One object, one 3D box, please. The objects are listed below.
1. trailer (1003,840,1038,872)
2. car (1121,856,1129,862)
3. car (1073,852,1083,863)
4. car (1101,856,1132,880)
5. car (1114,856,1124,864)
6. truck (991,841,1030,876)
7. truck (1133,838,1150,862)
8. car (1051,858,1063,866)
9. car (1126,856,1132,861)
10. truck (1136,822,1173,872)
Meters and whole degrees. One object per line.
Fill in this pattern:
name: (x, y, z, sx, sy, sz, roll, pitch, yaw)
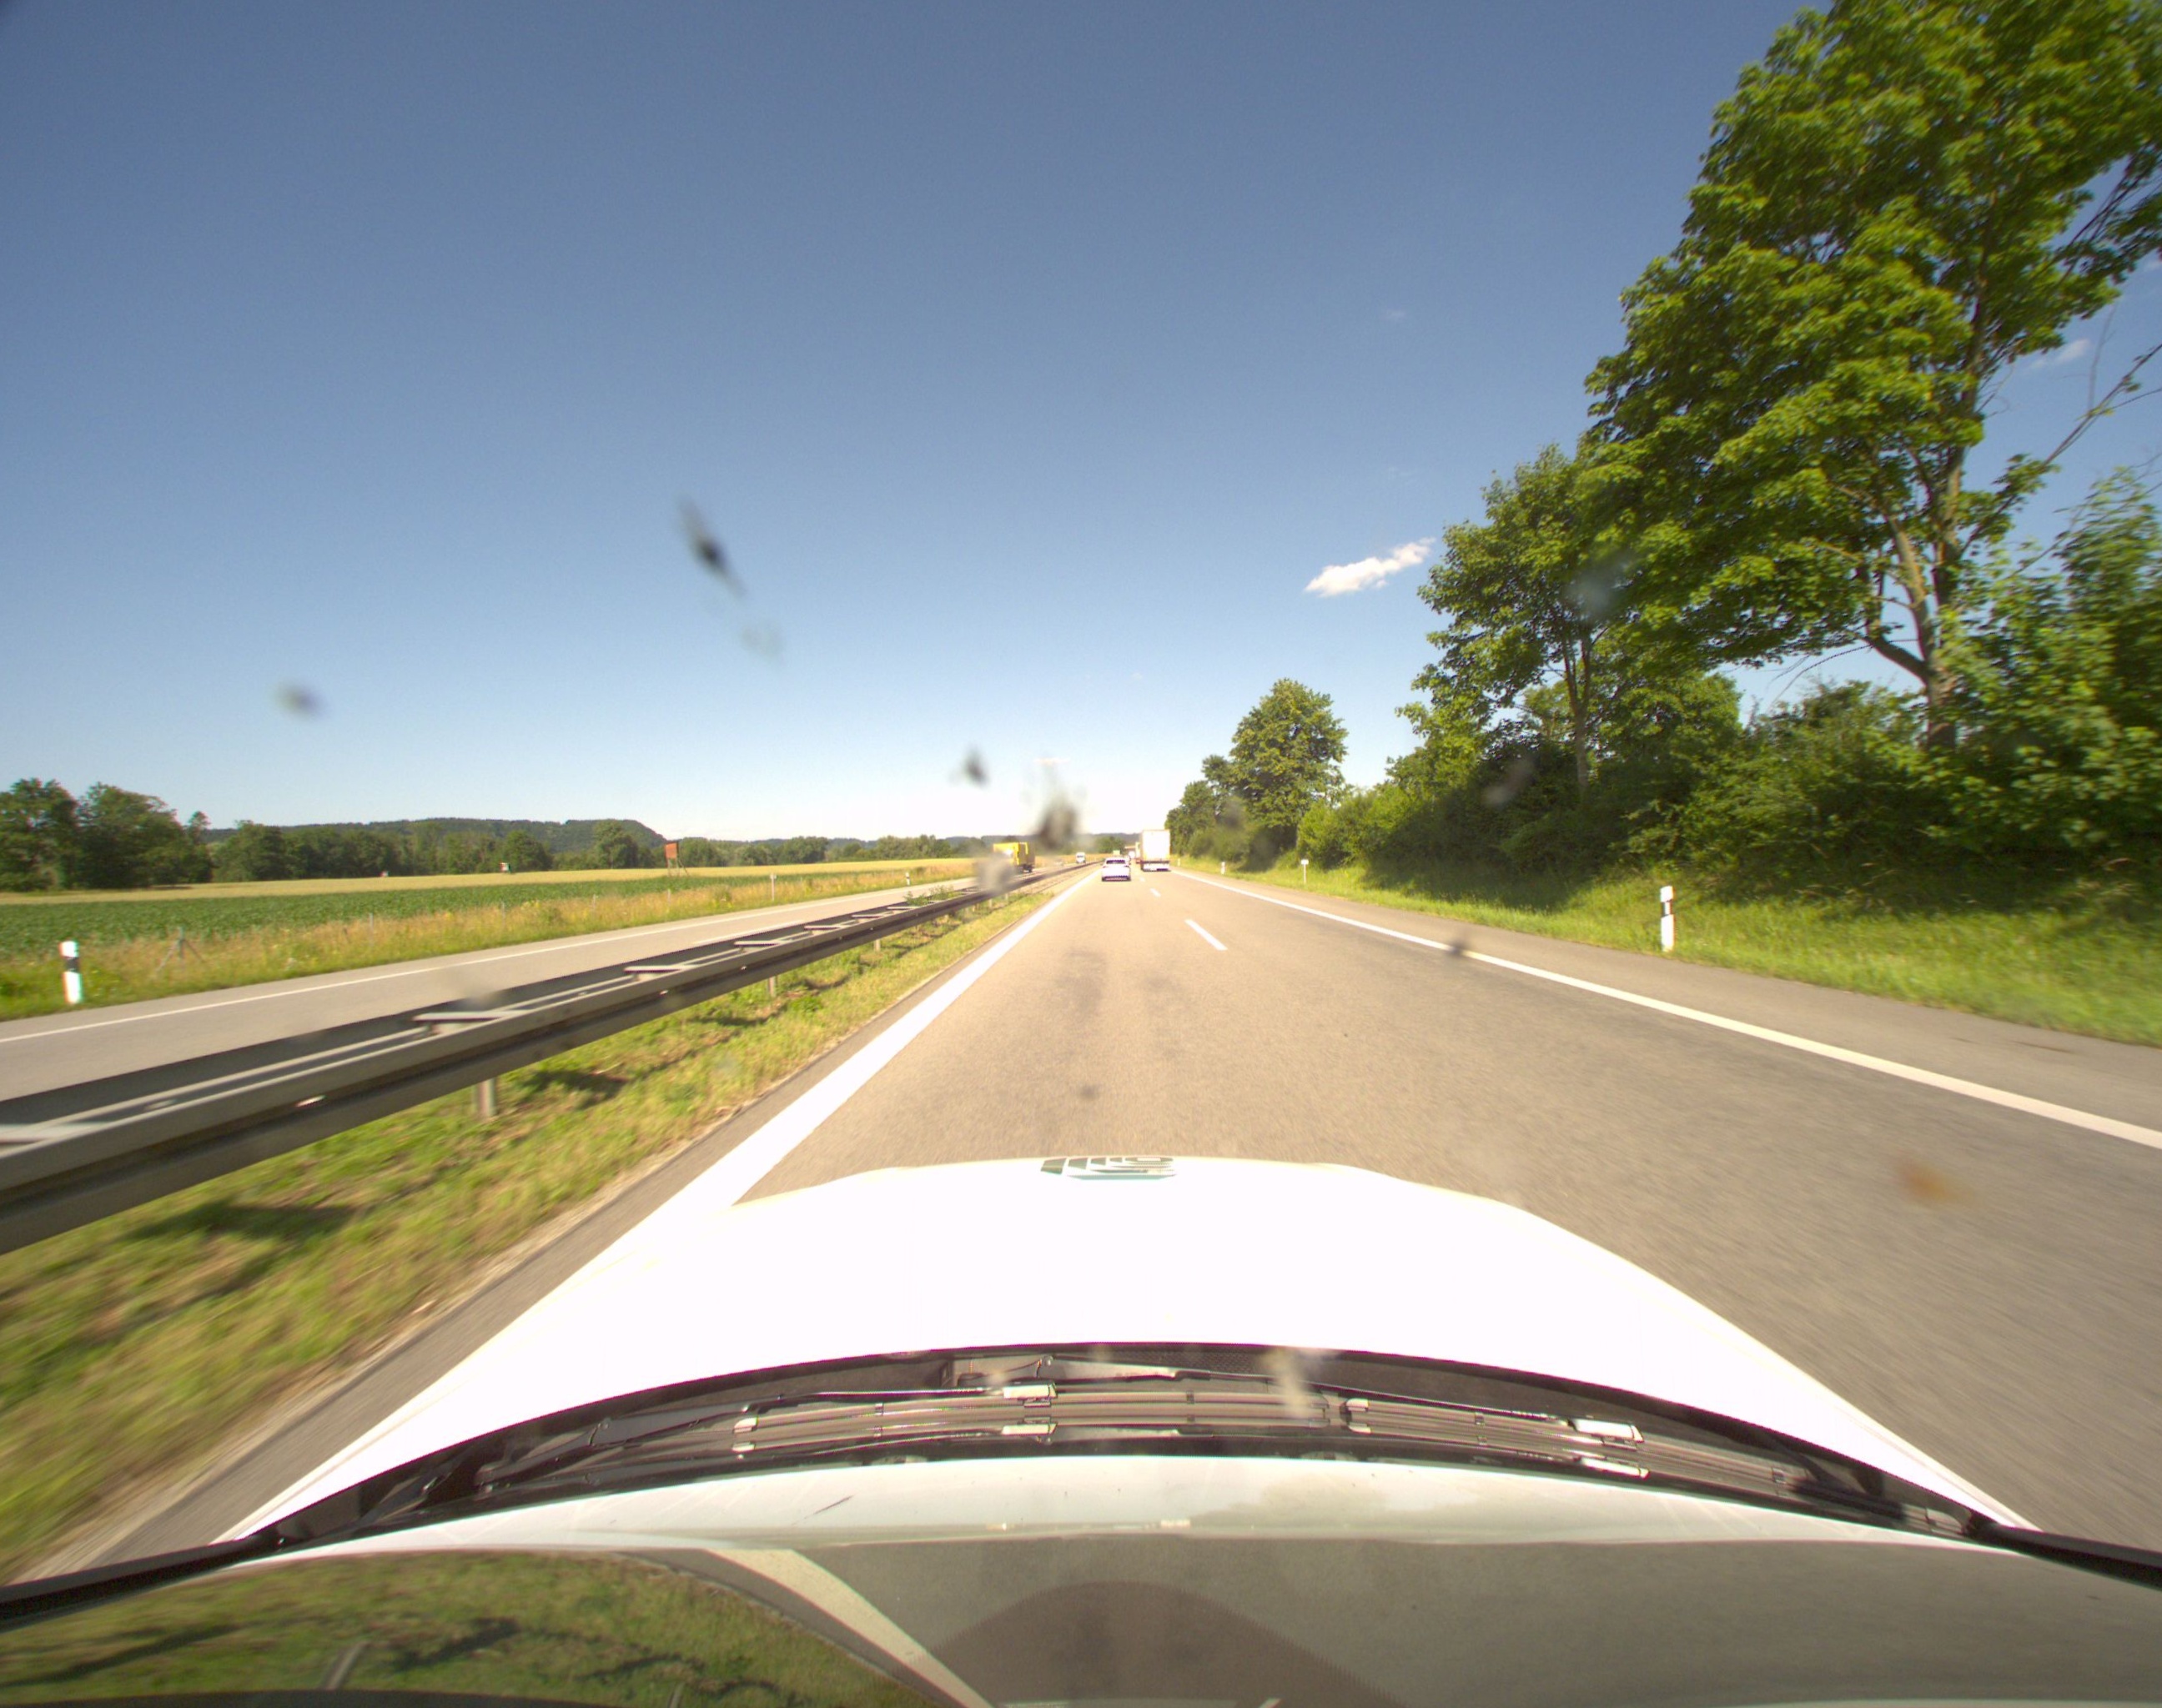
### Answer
trailer: (-7.018, 0.264, 95.726, 2.725, 3.460, 9.238, -4, 0, 2)
car: (10.641, 1.230, 196.761, 1.764, 1.421, 4.368, -1, 0, 3)
car: (-0.707, 0.833, 199.069, 1.917, 2.476, 5.189, -2, 0, 2)
car: (2.157, 0.842, 51.024, 1.833, 1.421, 5.256, 0, 0, 1)
car: (7.077, 1.181, 151.660, 1.764, 1.421, 4.367, -1, 0, 2)
truck: (-7.420, 0.455, 86.444, 2.725, 3.383, 9.238, -4, 0, 2)
truck: (11.043, -0.687, 149.103, 3.000, 4.115, 8.913, -2, 0, 4)
car: (-4.415, 1.472, 150.023, 1.828, 1.376, 4.003, -2, 0, 2)
car: (12.974, 1.229, 220.241, 1.763, 1.421, 4.369, -1, 0, 4)
truck: (7.173, -0.673, 80.518, 3.139, 4.612, 8.911, -2, 0, 3)
